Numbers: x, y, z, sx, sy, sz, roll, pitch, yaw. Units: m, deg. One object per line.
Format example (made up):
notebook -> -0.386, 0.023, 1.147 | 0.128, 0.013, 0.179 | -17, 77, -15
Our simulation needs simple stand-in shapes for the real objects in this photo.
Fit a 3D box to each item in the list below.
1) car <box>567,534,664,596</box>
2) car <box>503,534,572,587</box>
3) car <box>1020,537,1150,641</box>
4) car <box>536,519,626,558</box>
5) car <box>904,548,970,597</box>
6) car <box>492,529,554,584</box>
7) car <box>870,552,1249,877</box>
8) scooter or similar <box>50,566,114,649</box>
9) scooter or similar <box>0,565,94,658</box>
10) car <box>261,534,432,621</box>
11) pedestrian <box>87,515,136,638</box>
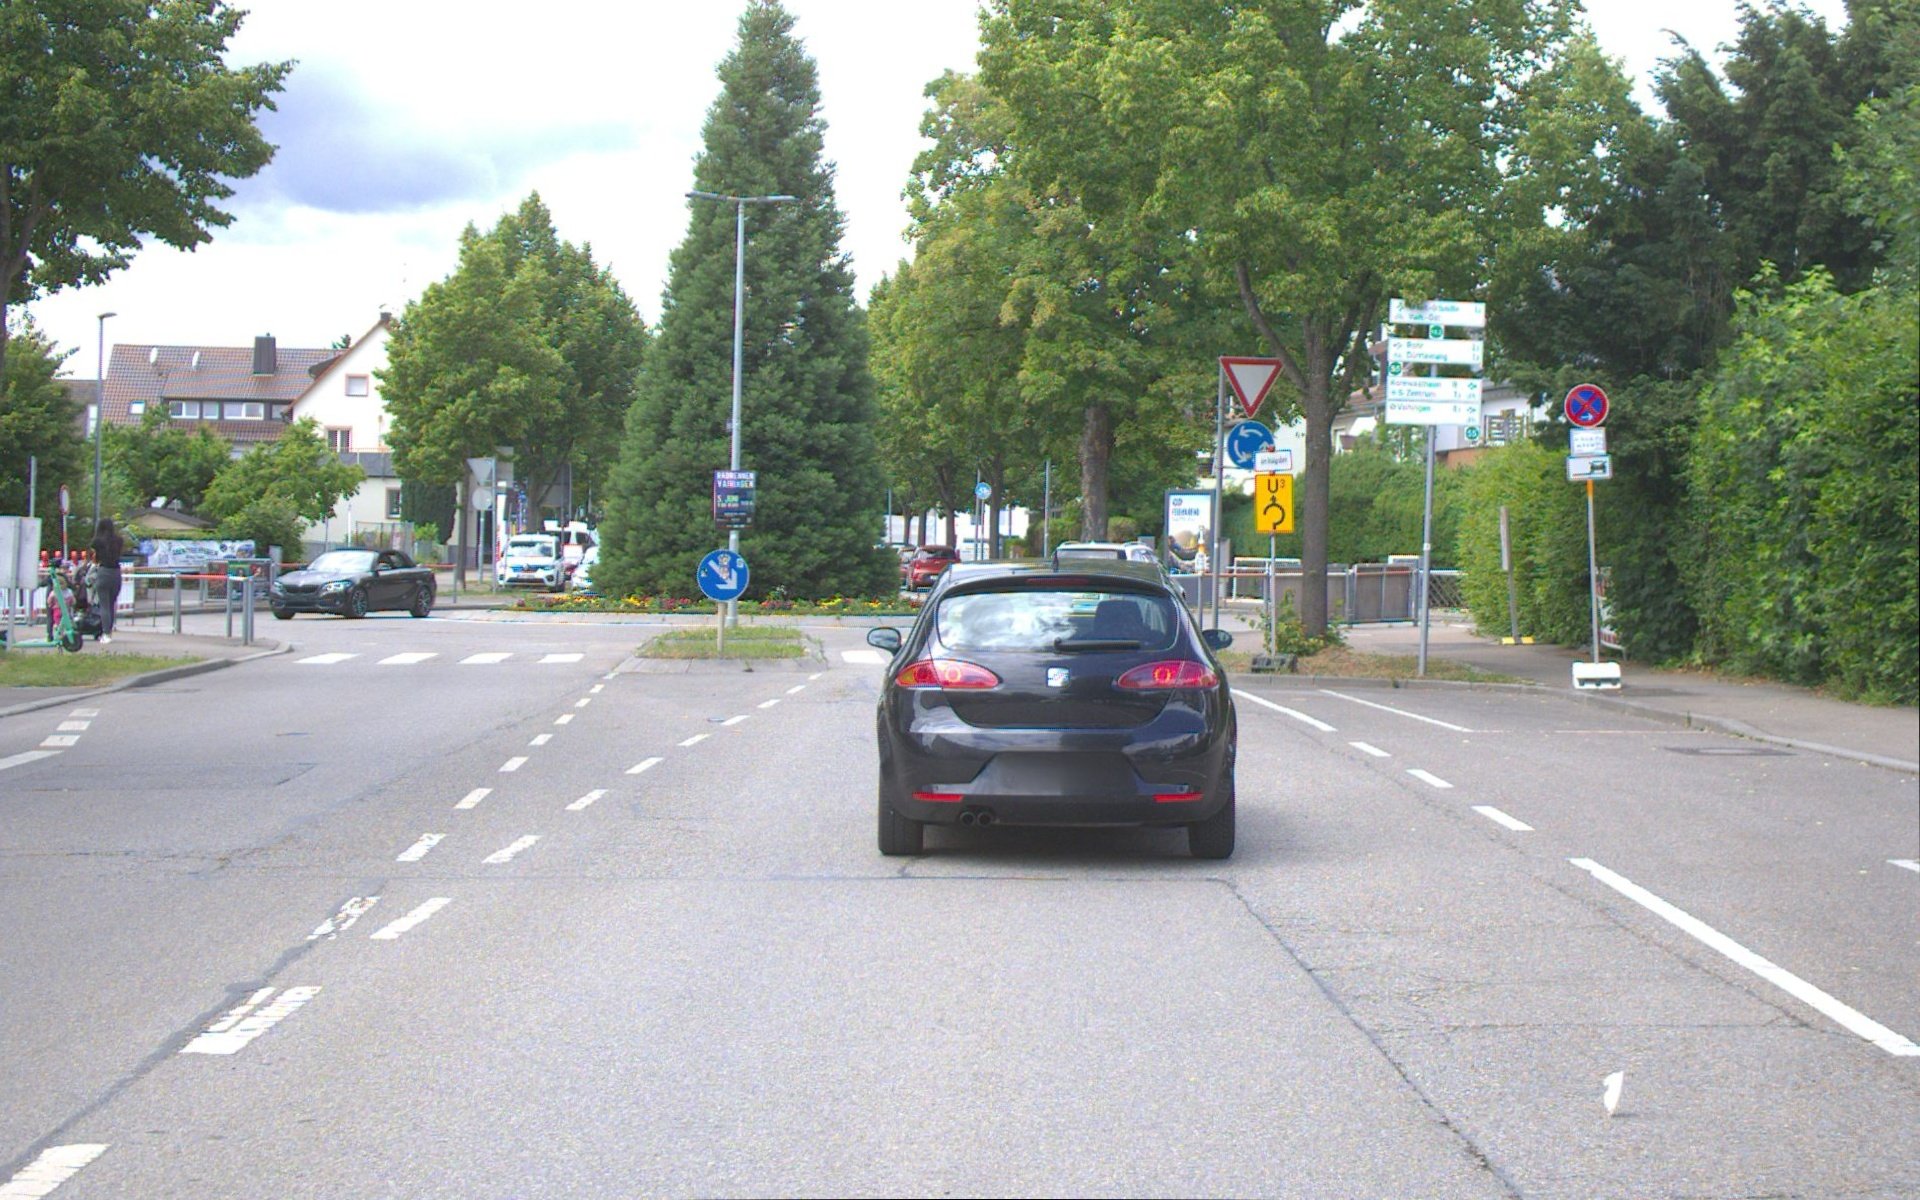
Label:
car -> -8.971, -0.924, 89.795 | 1.869, 1.555, 4.259 | 0, 1, 3
car -> -13.179, -1.245, 107.356 | 1.797, 1.596, 4.001 | 0, 1, -2
car -> 2.024, -0.205, 56.629 | 1.993, 1.607, 4.000 | 1, 1, 1
car -> -19.003, -3.095, 172.529 | 3.990, 1.964, 2.035 | 1, 1, 18
car -> -0.733, -0.886, 109.157 | 1.474, 1.484, 3.383 | 1, 1, -11
car -> -15.919, -1.591, 125.436 | 2.029, 1.964, 4.001 | 0, 1, -4
car -> 0.430, 0.500, 17.810 | 1.732, 1.481, 4.000 | 0, 1, -1
scooter or similar -> -12.135, 0.101, 47.521 | 0.406, 1.092, 0.969 | 3, 0, -41
scooter or similar -> -11.366, 0.141, 42.377 | 1.284, 1.135, 0.347 | 0, 1, -32
car -> -11.866, -0.449, 66.682 | 1.570, 1.628, 3.618 | 1, 1, 22
pedestrian -> -11.592, -0.325, 46.979 | 0.481, 1.664, 0.516 | 0, 1, -35
